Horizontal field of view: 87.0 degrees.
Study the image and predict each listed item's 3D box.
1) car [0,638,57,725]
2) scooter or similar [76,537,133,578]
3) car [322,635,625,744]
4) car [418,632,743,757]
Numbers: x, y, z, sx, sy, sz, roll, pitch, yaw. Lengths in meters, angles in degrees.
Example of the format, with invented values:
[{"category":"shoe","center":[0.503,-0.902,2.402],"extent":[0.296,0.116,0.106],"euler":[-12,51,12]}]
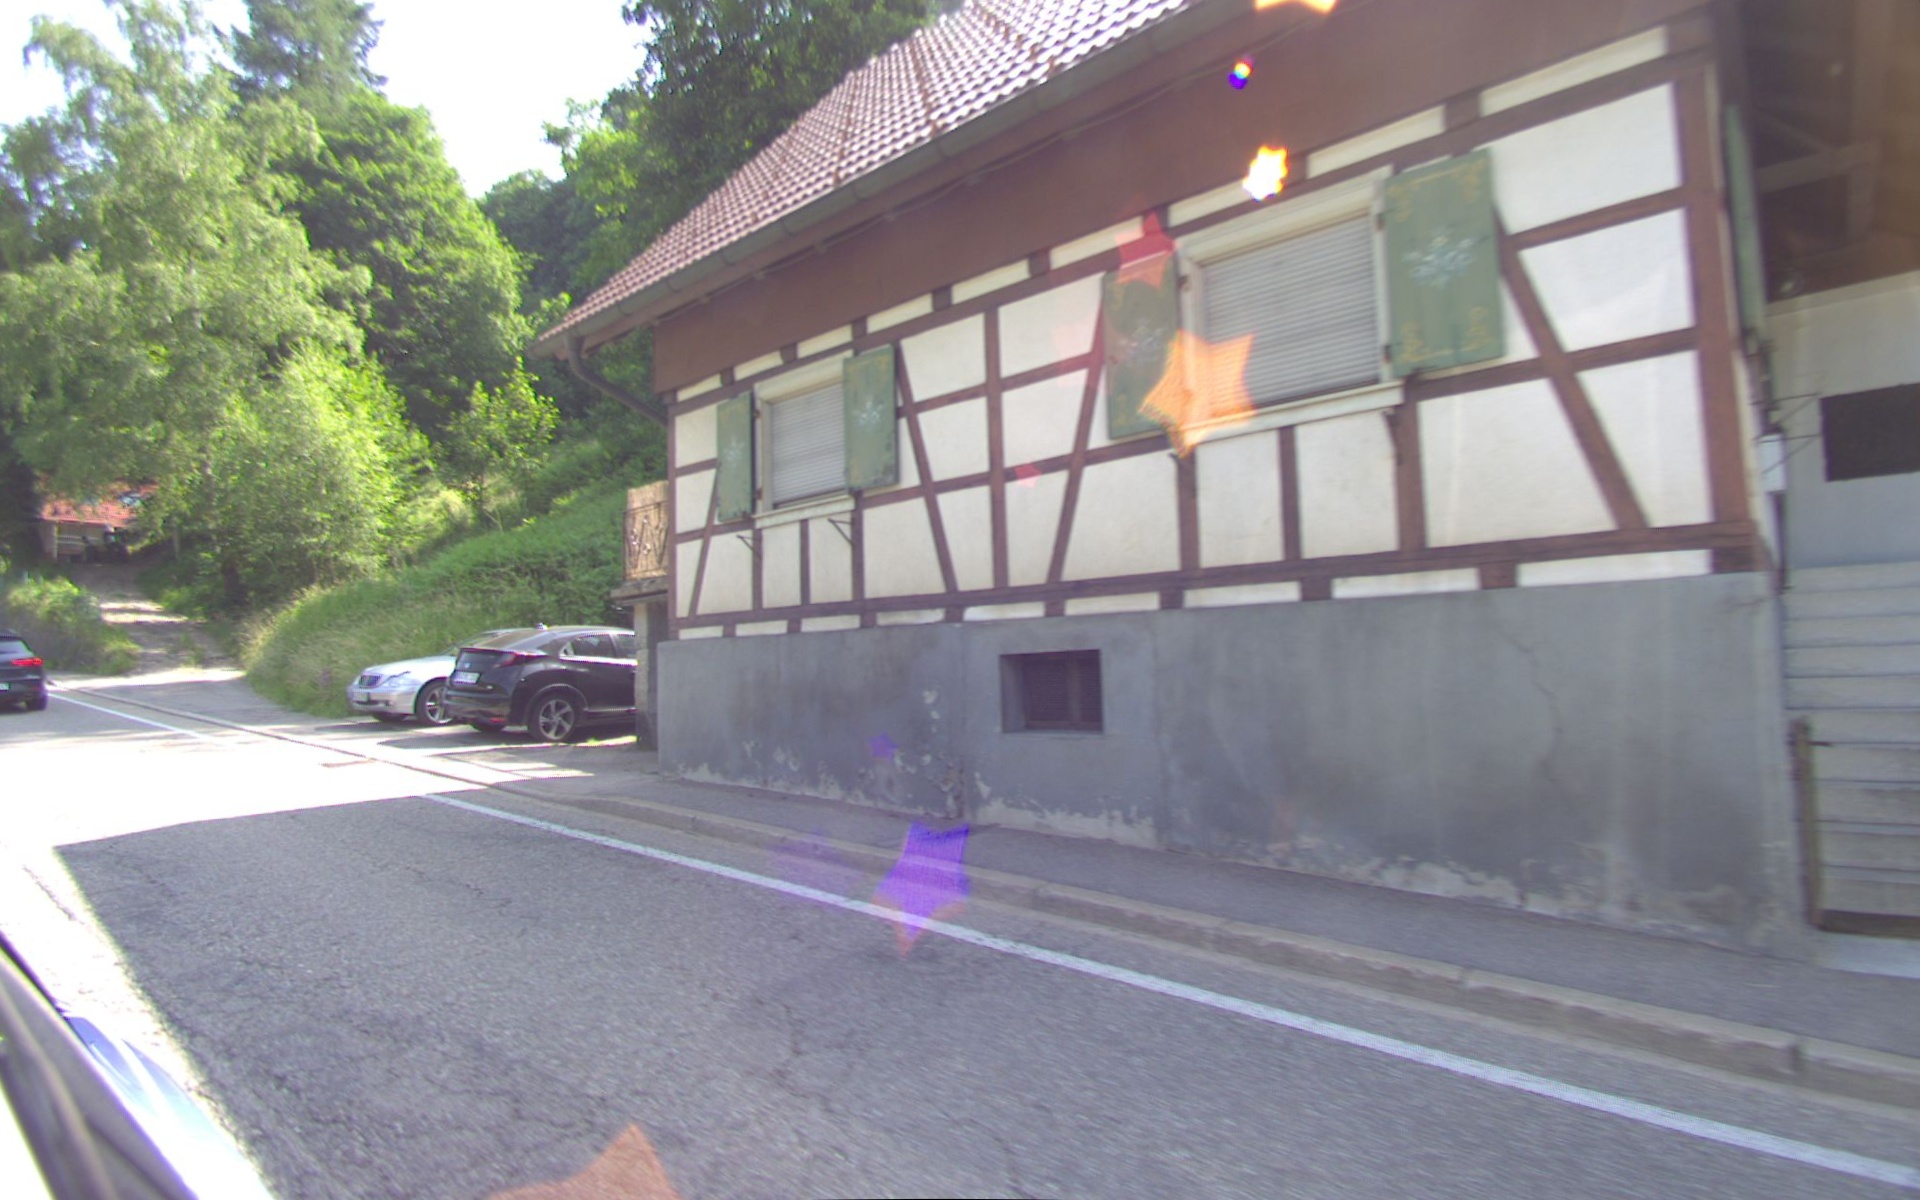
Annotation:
[{"category":"car","center":[-17.457,1.379,17.726],"extent":[4.139,1.407,1.748],"euler":[-2,-2,38]},{"category":"scooter or similar","center":[-47.943,-2.358,56.703],"extent":[4.407,2.042,1.956],"euler":[-2,1,45]},{"category":"car","center":[-7.318,1.258,15.529],"extent":[1.854,1.427,3.781],"euler":[-1,-2,37]},{"category":"car","center":[-5.101,1.224,14.011],"extent":[1.861,1.444,3.780],"euler":[-1,-3,37]}]
